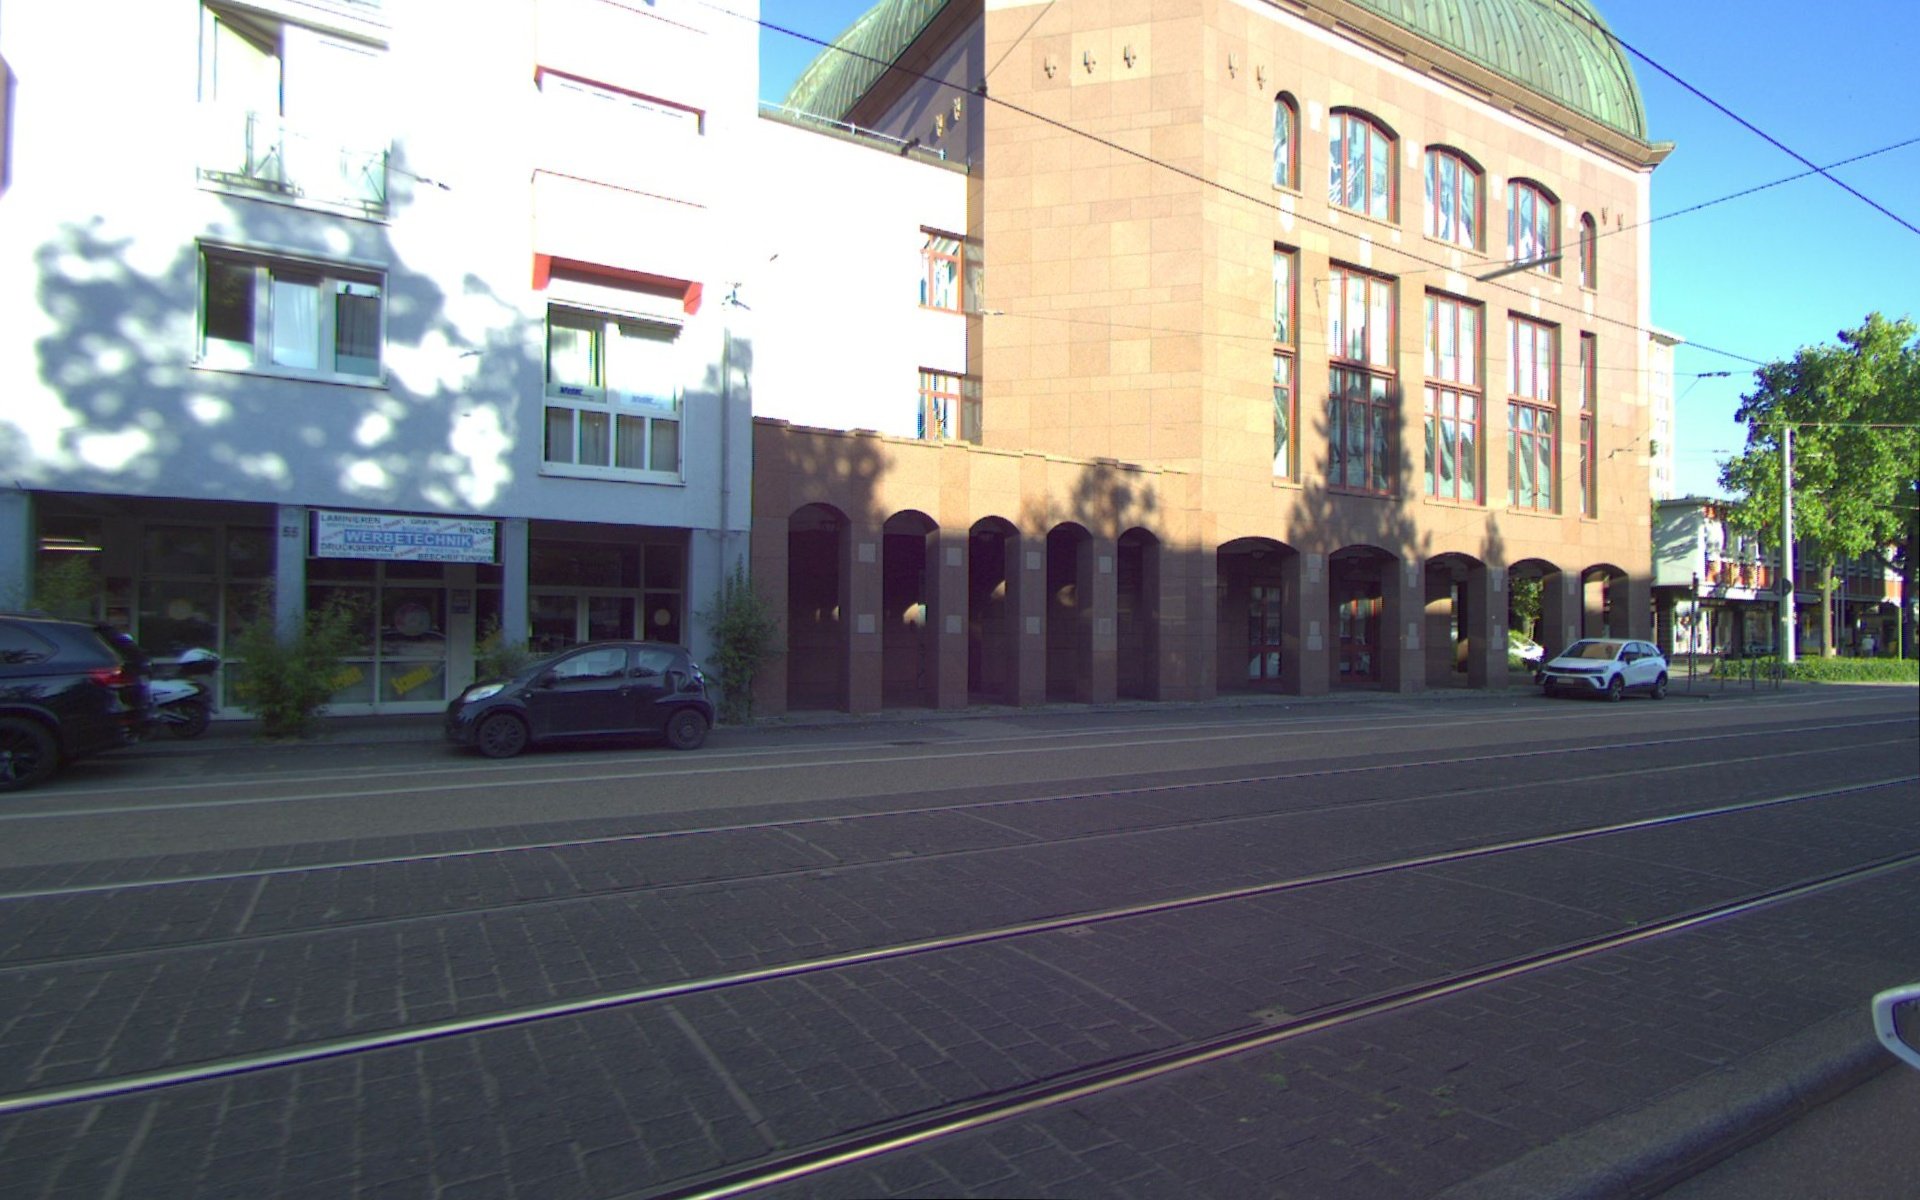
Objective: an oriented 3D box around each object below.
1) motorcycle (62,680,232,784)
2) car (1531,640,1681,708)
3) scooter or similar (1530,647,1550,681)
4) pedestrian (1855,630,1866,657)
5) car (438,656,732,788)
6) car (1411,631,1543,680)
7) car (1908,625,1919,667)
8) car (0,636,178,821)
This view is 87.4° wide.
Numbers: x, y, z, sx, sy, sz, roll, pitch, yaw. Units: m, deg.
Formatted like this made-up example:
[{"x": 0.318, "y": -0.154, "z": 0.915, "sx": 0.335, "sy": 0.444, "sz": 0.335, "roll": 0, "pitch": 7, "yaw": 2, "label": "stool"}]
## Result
[{"x": -9.912, "y": 1.588, "z": 12.316, "sx": 1.526, "sy": 1.148, "sz": 0.567, "roll": 2, "pitch": -1, "yaw": -31, "label": "motorcycle"}, {"x": 17.534, "y": 1.945, "z": 27.223, "sx": 4.208, "sy": 1.621, "sz": 1.859, "roll": 1, "pitch": -1, "yaw": -33, "label": "car"}, {"x": 17.330, "y": 1.910, "z": 30.011, "sx": 0.358, "sy": 0.951, "sz": 0.968, "roll": 2, "pitch": 1, "yaw": 40, "label": "scooter or similar"}, {"x": 45.095, "y": 2.179, "z": 50.287, "sx": 0.358, "sy": 1.361, "sz": 0.481, "roll": 2, "pitch": 1, "yaw": 40, "label": "pedestrian"}, {"x": -5.125, "y": 1.557, "z": 13.737, "sx": 3.540, "sy": 1.470, "sz": 1.861, "roll": 1, "pitch": -1, "yaw": -29, "label": "car"}, {"x": 23.121, "y": 2.414, "z": 45.062, "sx": 2.134, "sy": 2.020, "sz": 4.876, "roll": 1, "pitch": -1, "yaw": -40, "label": "car"}, {"x": 49.008, "y": 2.300, "z": 47.783, "sx": 5.173, "sy": 2.069, "sz": 2.415, "roll": 1, "pitch": -1, "yaw": 28, "label": "car"}, {"x": -10.966, "y": 1.241, "z": 9.971, "sx": 4.765, "sy": 1.735, "sz": 2.080, "roll": 2, "pitch": -1, "yaw": -31, "label": "car"}]
